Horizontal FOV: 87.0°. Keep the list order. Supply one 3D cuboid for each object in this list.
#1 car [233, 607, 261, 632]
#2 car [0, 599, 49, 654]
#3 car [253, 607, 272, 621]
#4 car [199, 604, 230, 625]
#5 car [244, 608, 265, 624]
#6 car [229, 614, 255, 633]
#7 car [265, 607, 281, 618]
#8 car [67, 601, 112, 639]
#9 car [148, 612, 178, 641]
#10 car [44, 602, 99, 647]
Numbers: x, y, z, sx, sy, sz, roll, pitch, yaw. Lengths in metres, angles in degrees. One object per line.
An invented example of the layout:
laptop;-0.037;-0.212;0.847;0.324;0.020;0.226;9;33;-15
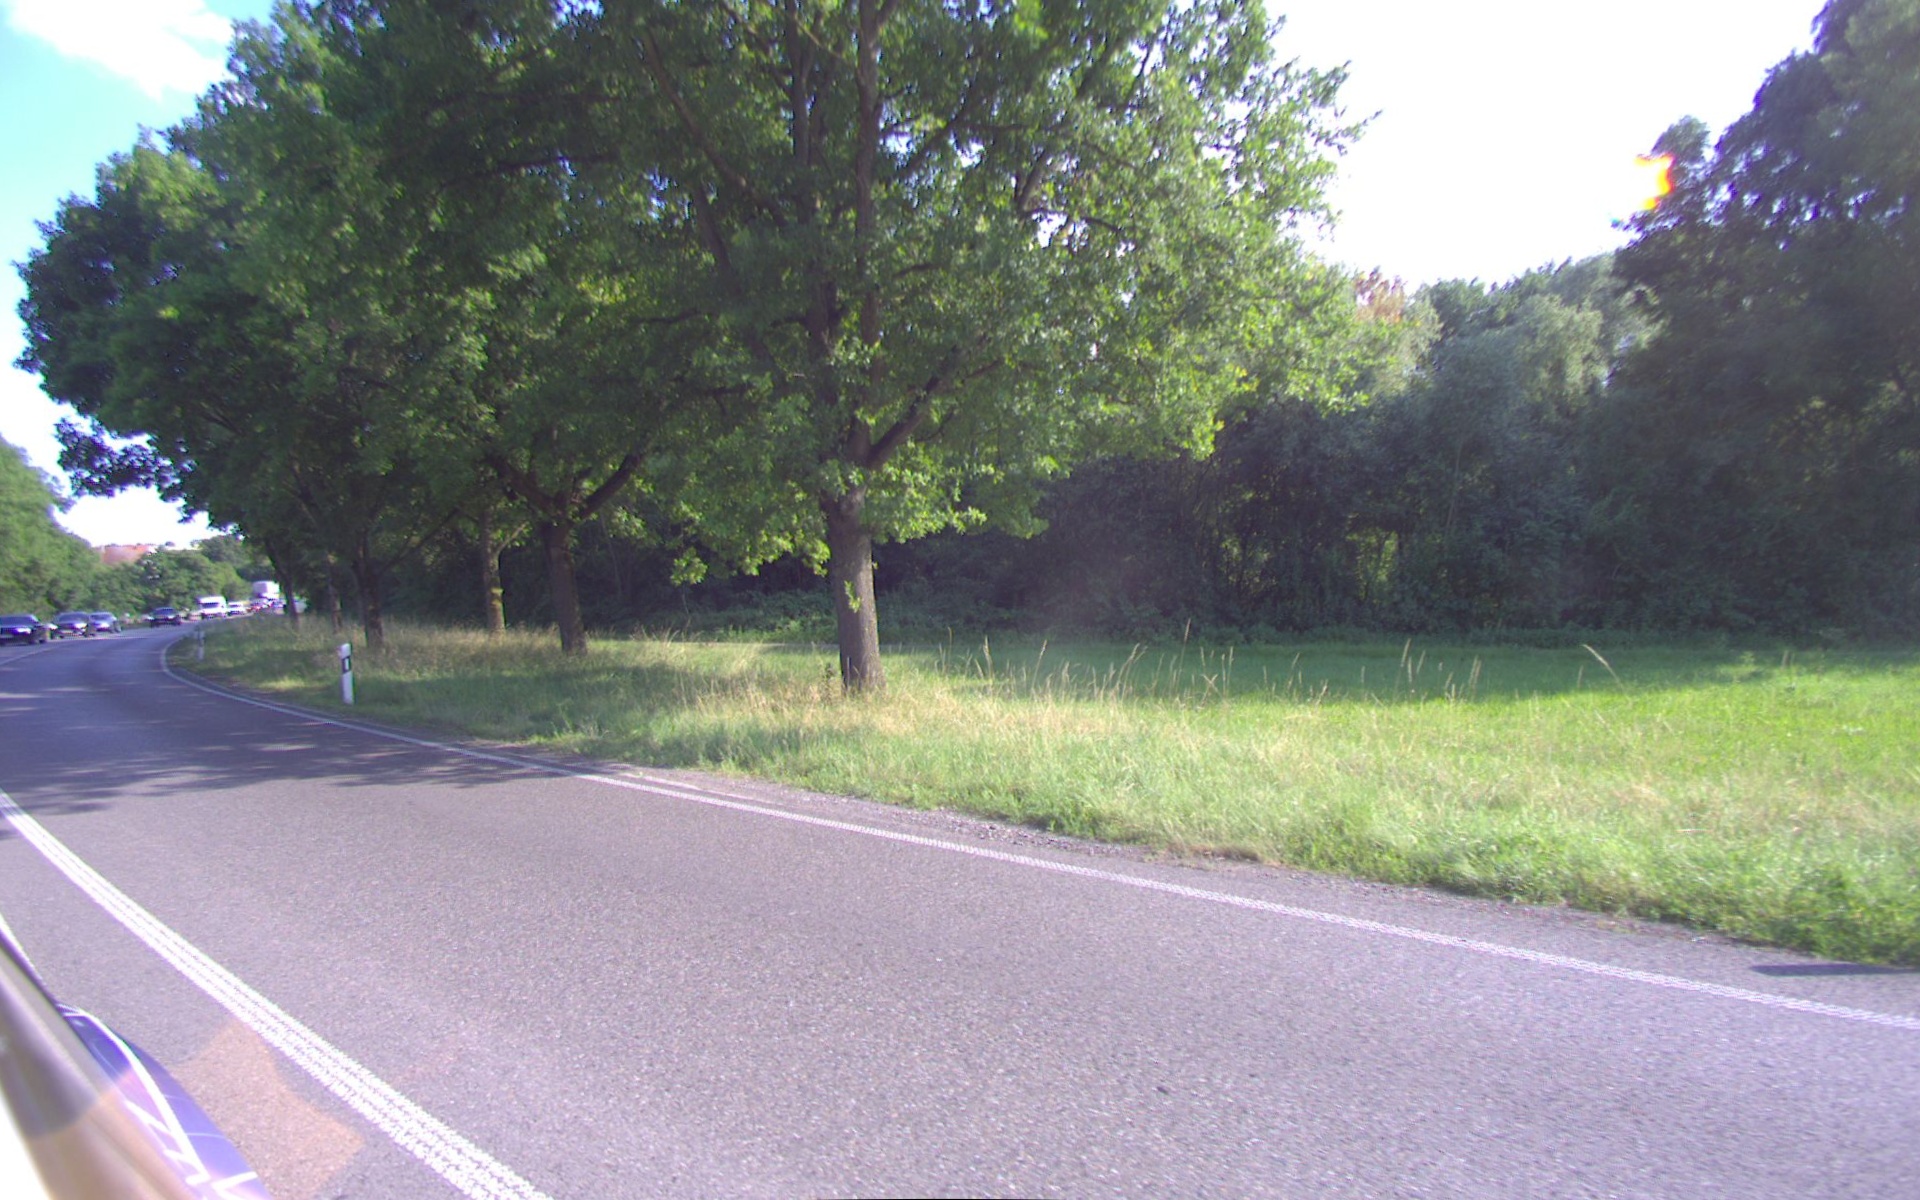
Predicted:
car;-71.462;1.920;101.509;2.055;2.435;5.156;-1;0;-33
car;-44.432;1.221;47.517;2.056;2.435;5.153;-1;0;-38
car;-127.283;2.569;184.759;2.054;2.435;5.159;-1;0;-27
car;-87.392;1.659;118.641;2.054;2.435;5.159;-1;0;-27
car;-113.472;2.575;162.798;2.054;2.435;5.159;-1;0;-27
car;-97.448;3.198;137.468;2.054;2.435;5.159;-1;0;-27
car;-106.406;1.872;156.826;1.871;1.643;4.263;-1;0;-33
car;-59.839;1.325;69.615;2.056;2.435;5.153;-1;0;-38
car;-70.843;2.348;89.979;2.056;2.435;5.153;-1;0;-38
car;-51.553;1.371;58.797;2.056;2.435;5.153;-1;0;-38
